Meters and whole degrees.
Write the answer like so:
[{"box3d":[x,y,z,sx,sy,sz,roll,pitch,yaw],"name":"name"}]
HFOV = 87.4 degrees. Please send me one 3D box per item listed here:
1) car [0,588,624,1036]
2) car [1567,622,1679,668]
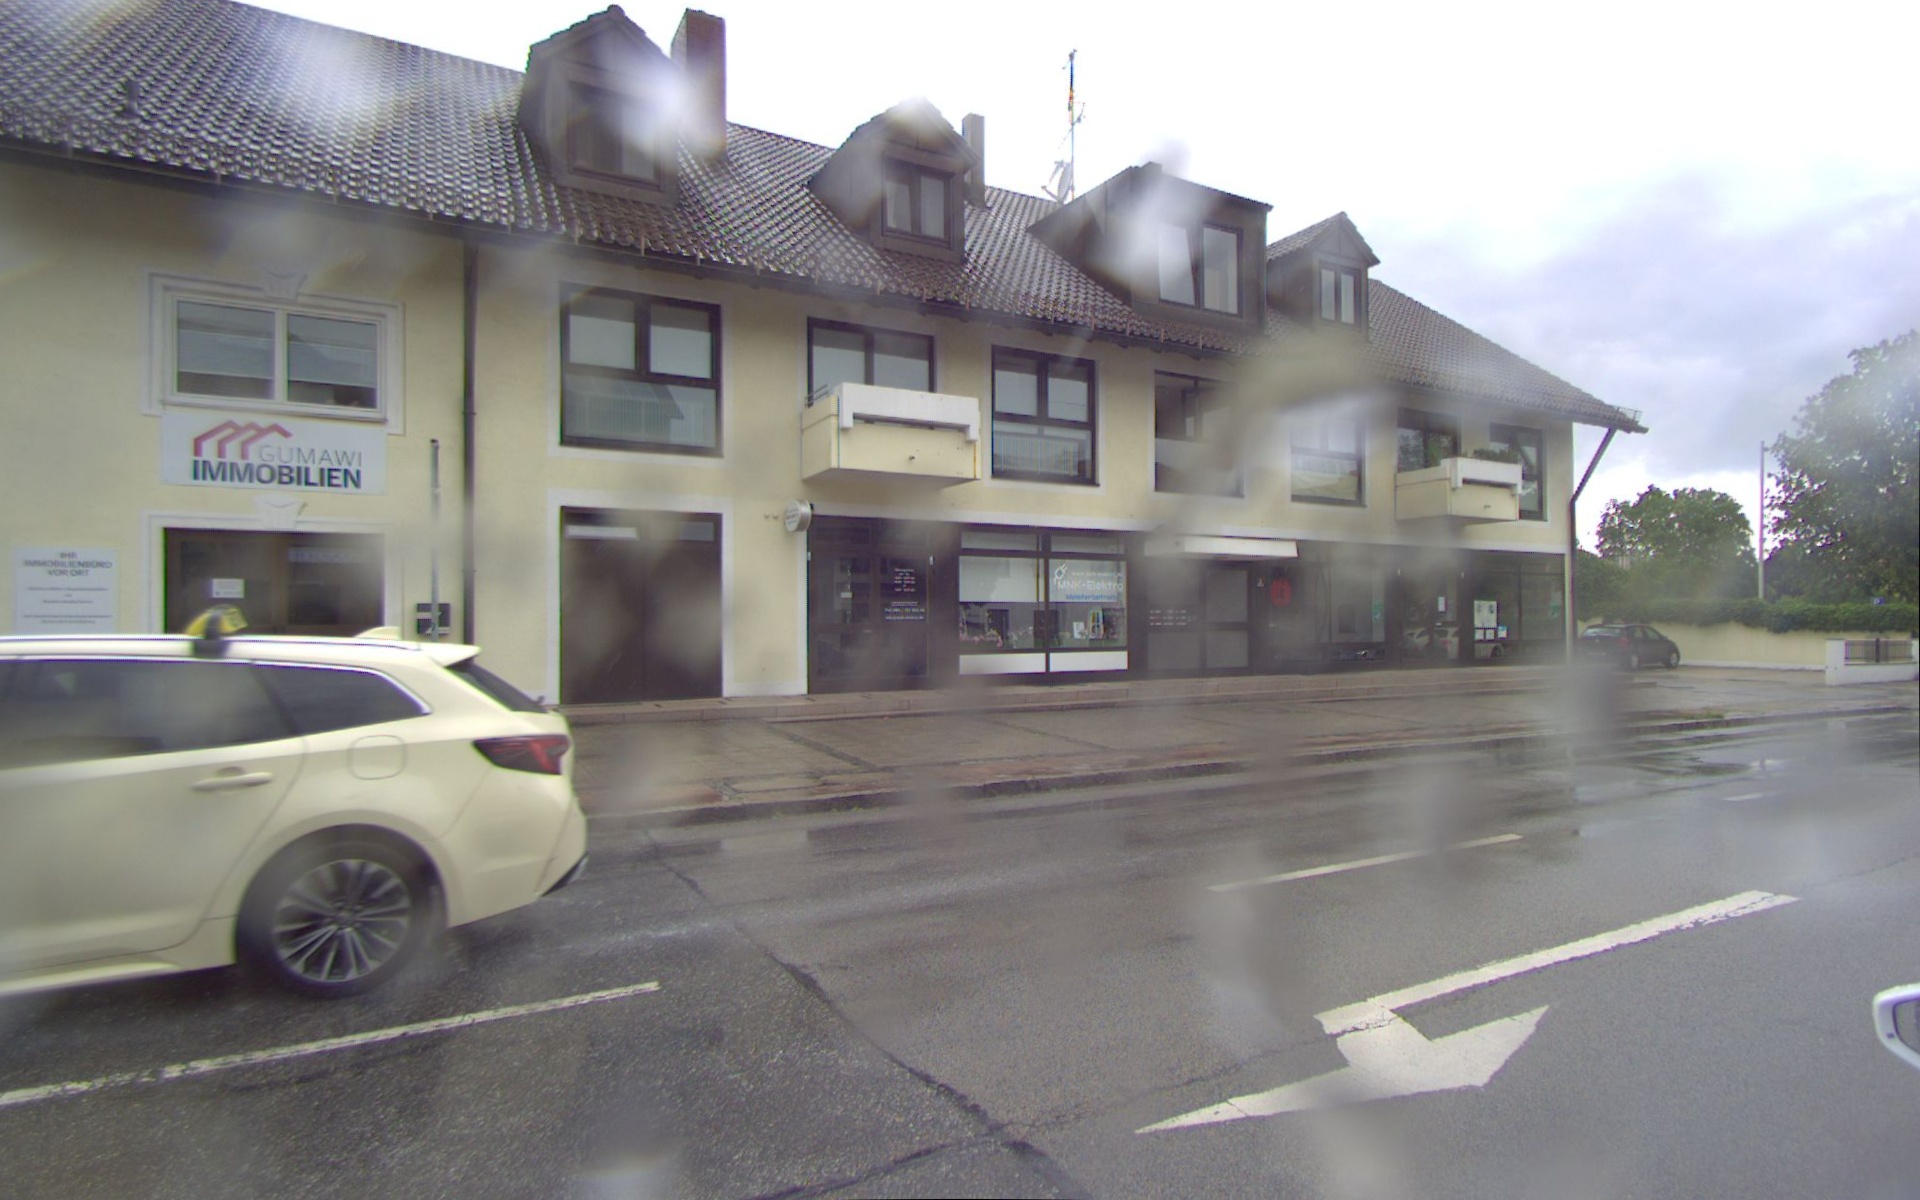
[{"box3d":[-3.731,0.759,4.202,4.179,1.531,1.745,1,-3,-29],"name":"car"},{"box3d":[21.131,1.409,31.990,3.467,1.398,1.599,1,-2,-30],"name":"car"}]
